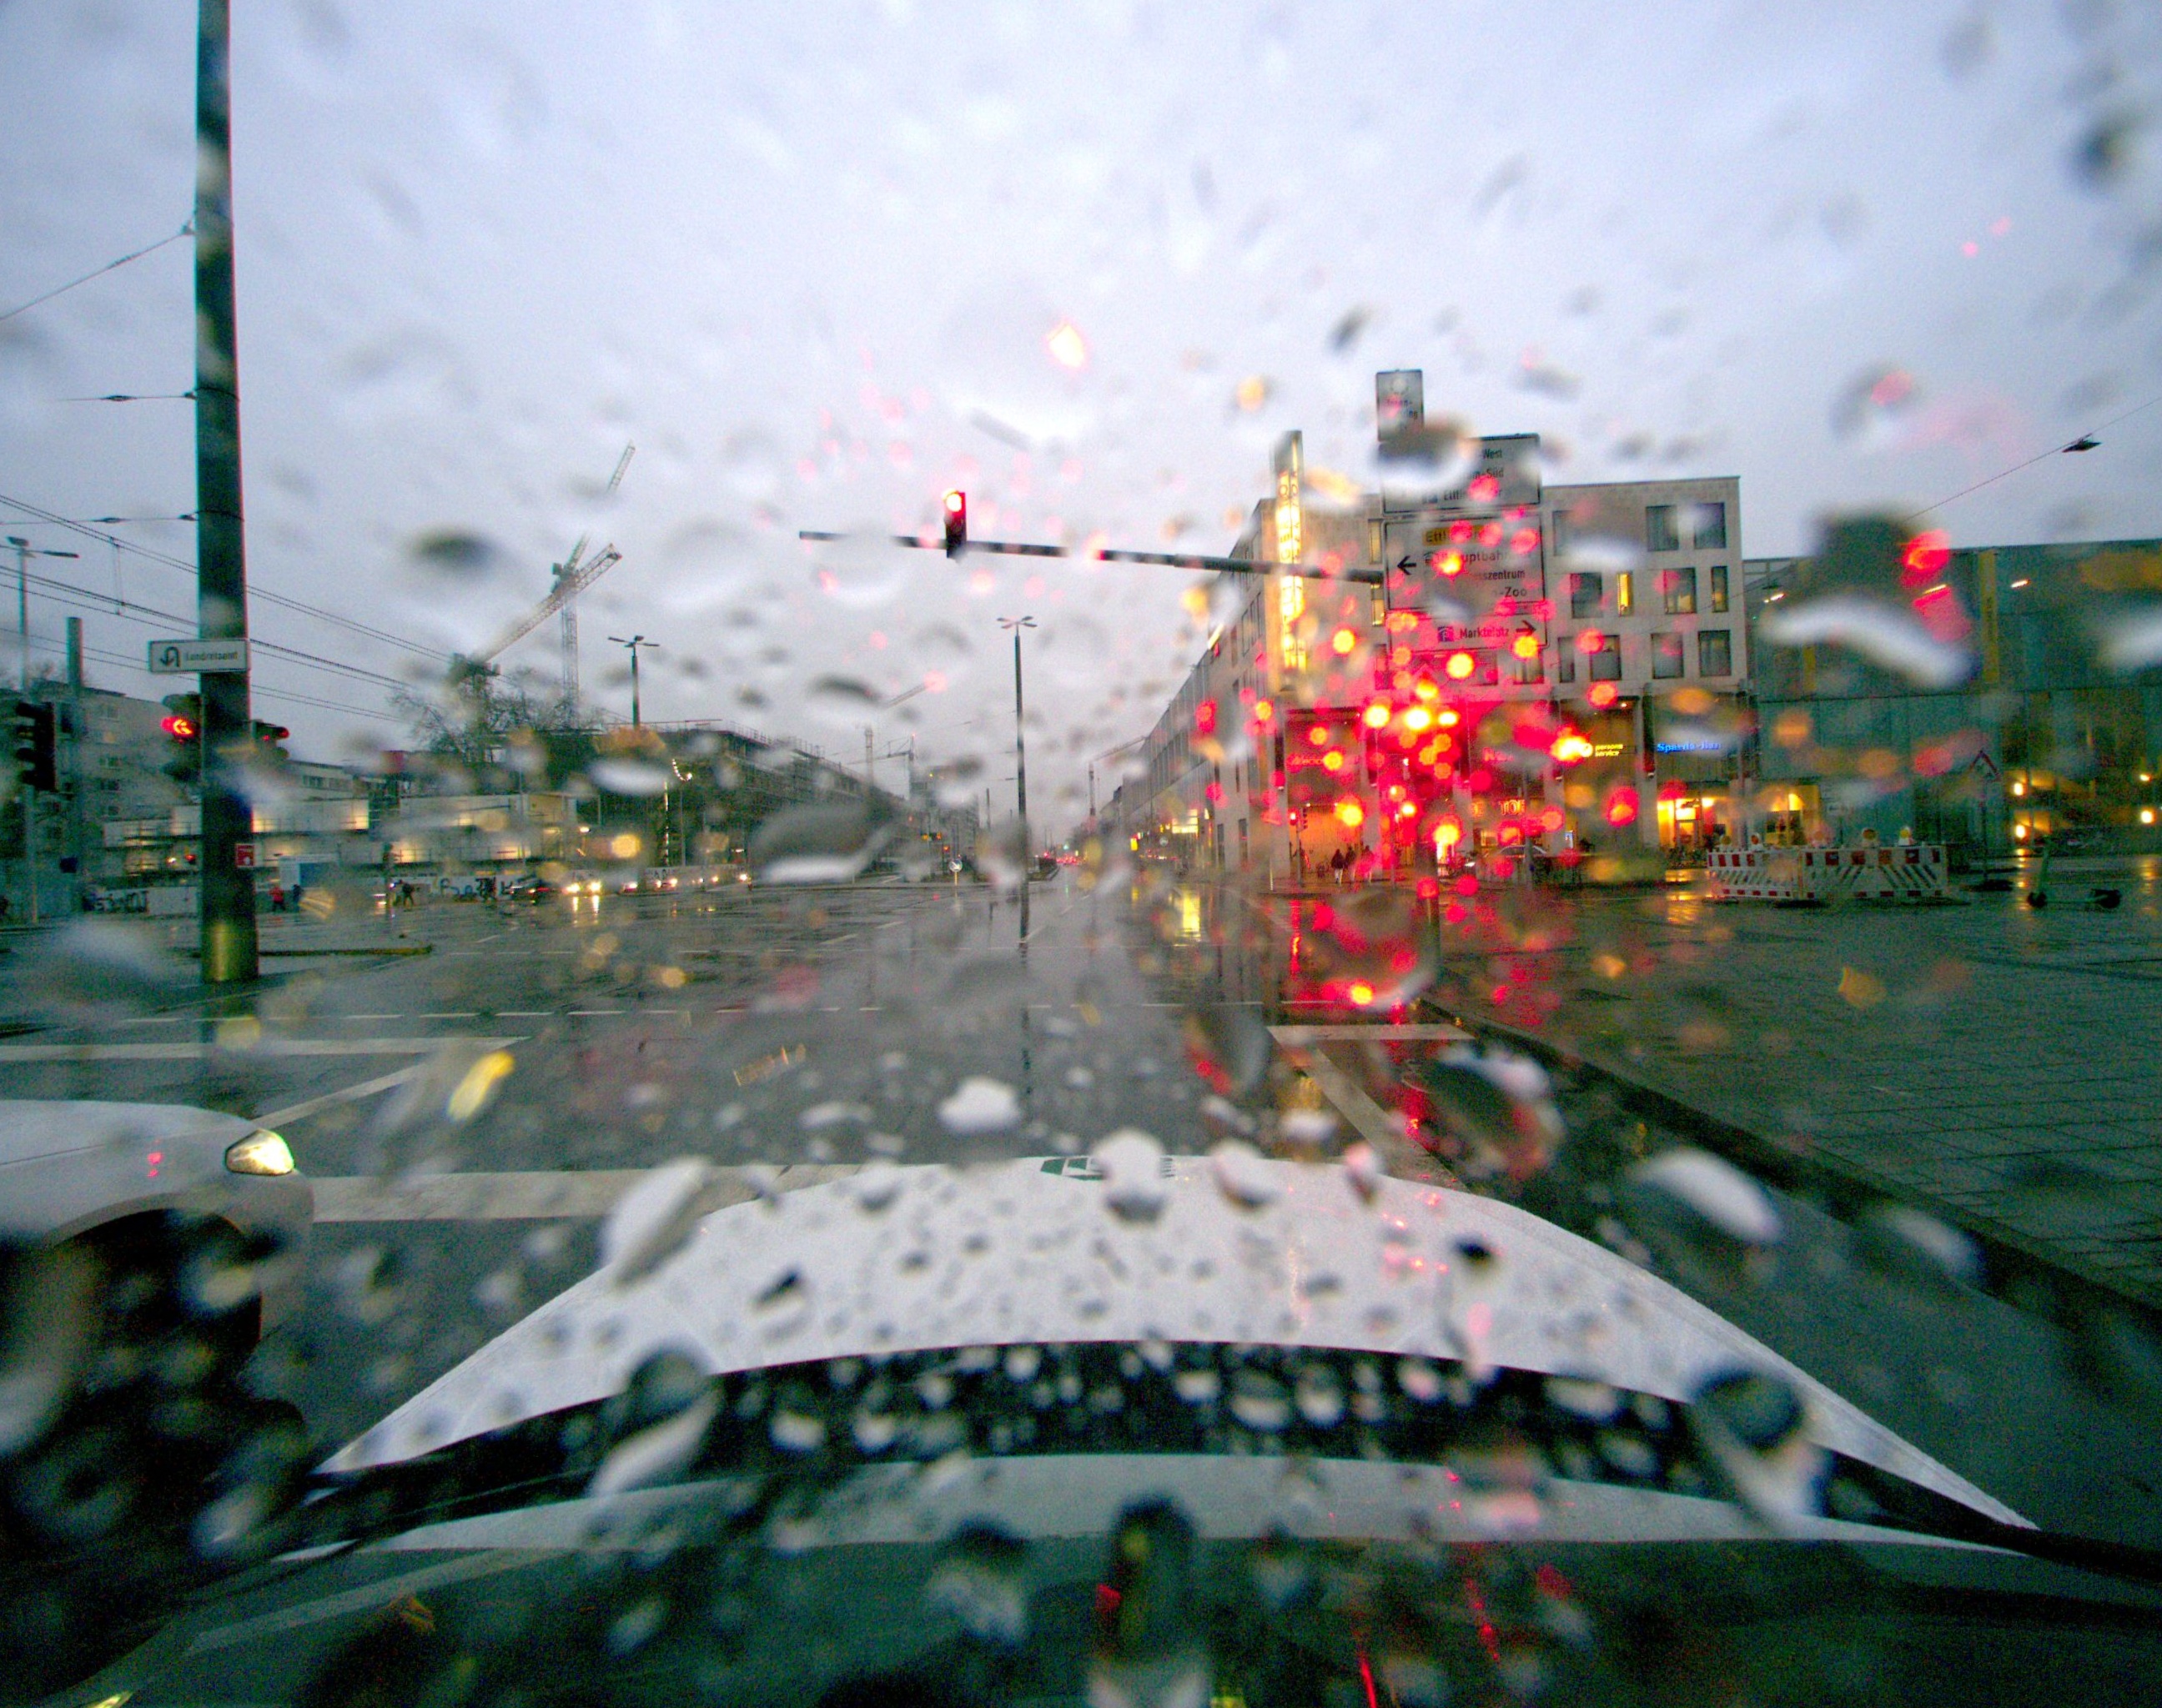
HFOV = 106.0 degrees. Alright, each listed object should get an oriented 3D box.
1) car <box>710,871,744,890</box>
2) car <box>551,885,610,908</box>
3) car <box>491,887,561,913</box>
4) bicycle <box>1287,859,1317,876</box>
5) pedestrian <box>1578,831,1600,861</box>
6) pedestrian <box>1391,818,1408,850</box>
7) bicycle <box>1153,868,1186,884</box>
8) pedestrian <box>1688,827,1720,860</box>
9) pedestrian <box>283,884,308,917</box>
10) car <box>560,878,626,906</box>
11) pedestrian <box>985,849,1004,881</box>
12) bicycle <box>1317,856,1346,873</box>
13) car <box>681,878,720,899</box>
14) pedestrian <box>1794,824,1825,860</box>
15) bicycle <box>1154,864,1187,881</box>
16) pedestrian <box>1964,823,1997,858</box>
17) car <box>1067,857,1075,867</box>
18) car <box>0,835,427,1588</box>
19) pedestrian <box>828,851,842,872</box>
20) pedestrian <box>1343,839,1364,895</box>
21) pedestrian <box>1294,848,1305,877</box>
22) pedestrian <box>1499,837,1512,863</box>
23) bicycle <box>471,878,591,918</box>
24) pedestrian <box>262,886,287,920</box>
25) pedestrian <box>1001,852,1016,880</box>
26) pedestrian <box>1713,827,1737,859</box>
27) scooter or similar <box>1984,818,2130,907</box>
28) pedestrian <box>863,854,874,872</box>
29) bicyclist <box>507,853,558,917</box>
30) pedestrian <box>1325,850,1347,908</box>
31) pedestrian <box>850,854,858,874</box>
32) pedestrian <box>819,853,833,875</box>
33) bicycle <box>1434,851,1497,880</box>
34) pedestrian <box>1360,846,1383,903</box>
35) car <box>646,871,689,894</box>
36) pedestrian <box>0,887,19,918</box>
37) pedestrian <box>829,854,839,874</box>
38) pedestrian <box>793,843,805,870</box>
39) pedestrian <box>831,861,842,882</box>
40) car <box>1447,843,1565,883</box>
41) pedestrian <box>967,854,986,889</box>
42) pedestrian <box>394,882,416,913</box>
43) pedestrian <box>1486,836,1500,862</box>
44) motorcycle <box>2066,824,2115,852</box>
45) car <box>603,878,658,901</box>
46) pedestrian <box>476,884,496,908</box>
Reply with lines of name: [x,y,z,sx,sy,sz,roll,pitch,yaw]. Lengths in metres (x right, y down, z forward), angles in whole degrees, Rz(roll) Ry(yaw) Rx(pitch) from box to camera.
car: [-35.386,2.606,81.505,1.990,1.790,3.993,0,-1,-5]
car: [-38.998,3.298,63.521,1.986,1.530,4.001,-2,0,2]
car: [-38.716,3.167,56.940,1.986,1.530,4.001,-2,0,2]
bicycle: [13.699,0.824,50.505,1.763,1.070,0.524,0,-1,-3]
pedestrian: [29.370,-0.437,47.102,0.890,1.684,0.528,-2,-1,1]
pedestrian: [20.511,-1.296,52.449,0.841,2.013,0.700,-2,0,10]
bicycle: [6.793,1.692,62.273,2.417,1.099,0.712,-2,-1,0]
pedestrian: [32.625,-0.556,42.676,1.026,1.684,0.824,0,-1,1]
pedestrian: [-47.842,2.831,49.621,0.781,2.014,0.748,0,-1,6]
car: [-33.656,2.596,56.280,1.986,1.657,4.001,-2,0,2]
pedestrian: [-4.968,0.624,46.712,0.826,1.831,0.778,0,-1,-29]
bicycle: [15.561,0.653,50.596,1.642,1.070,0.524,0,-1,-2]
car: [-35.440,3.232,75.929,1.990,1.790,3.993,0,-1,-5]
pedestrian: [33.893,-0.548,37.895,0.737,1.684,0.783,-1,-1,8]
bicycle: [6.749,1.417,61.555,2.434,1.154,0.674,-2,-1,0]
pedestrian: [44.030,-0.662,39.866,0.737,1.684,0.783,-1,-1,8]
car: [-2.108,1.686,168.861,1.572,2.013,3.170,-2,0,0]
car: [-3.189,0.738,0.357,2.010,1.487,4.561,-2,0,1]
pedestrian: [-23.896,0.764,79.102,0.939,2.014,1.094,0,-1,-1]
pedestrian: [11.855,0.561,35.459,0.687,2.441,0.758,0,-1,1]
pedestrian: [13.389,0.506,49.891,0.596,1.745,0.526,-1,-1,10]
pedestrian: [27.575,-0.276,52.934,0.613,1.685,0.366,-2,-1,-2]
bicycle: [-16.343,1.288,24.303,2.872,1.099,0.739,0,-1,-27]
pedestrian: [-48.450,2.924,48.937,0.861,2.014,0.624,0,-1,-6]
pedestrian: [-4.301,0.706,48.236,0.605,1.686,0.581,-1,-1,44]
pedestrian: [36.033,-0.597,45.589,0.782,1.739,0.779,-3,-1,17]
scooter or similar: [15.690,0.124,13.152,0.590,1.352,1.495,0,0,2]
pedestrian: [-24.018,1.052,91.935,0.939,2.014,1.094,0,-1,-1]
bicyclist: [-16.351,0.898,24.304,1.162,1.871,0.739,0,-1,-26]
pedestrian: [10.884,1.044,34.763,0.712,2.441,0.758,0,-1,1]
pedestrian: [-22.721,1.014,81.511,0.569,1.968,0.664,1,-1,-4]
pedestrian: [-24.265,0.937,77.532,0.939,2.014,1.094,0,-1,-1]
bicycle: [19.251,0.576,40.792,2.705,1.359,0.957,-2,-1,-2]
pedestrian: [12.595,0.870,35.331,0.691,2.448,0.792,0,-1,1]
car: [-34.716,2.361,68.489,1.862,1.828,3.993,0,-1,-5]
pedestrian: [-68.176,3.071,51.577,0.788,1.902,0.717,-2,-1,0]
pedestrian: [-23.398,0.948,77.110,0.696,1.881,0.553,0,-1,1]
pedestrian: [-24.071,0.202,69.484,0.762,2.323,0.763,0,-2,1]
pedestrian: [-22.715,1.612,75.788,0.762,1.898,0.763,0,-2,1]
car: [17.967,0.374,34.574,3.970,1.618,2.001,0,-1,3]
pedestrian: [-6.128,1.016,47.687,0.776,2.014,0.732,-1,-1,44]
pedestrian: [-46.930,3.006,56.513,0.872,2.165,0.763,0,-1,-7]
pedestrian: [28.055,-0.342,55.427,0.728,1.718,0.743,-3,-1,29]
motorcycle: [48.240,-0.760,38.931,1.482,1.352,0.595,0,0,5]
car: [-34.278,2.642,62.083,2.074,1.530,4.603,-2,0,-8]
pedestrian: [-34.761,2.432,47.577,0.721,1.388,0.729,-1,-1,30]
